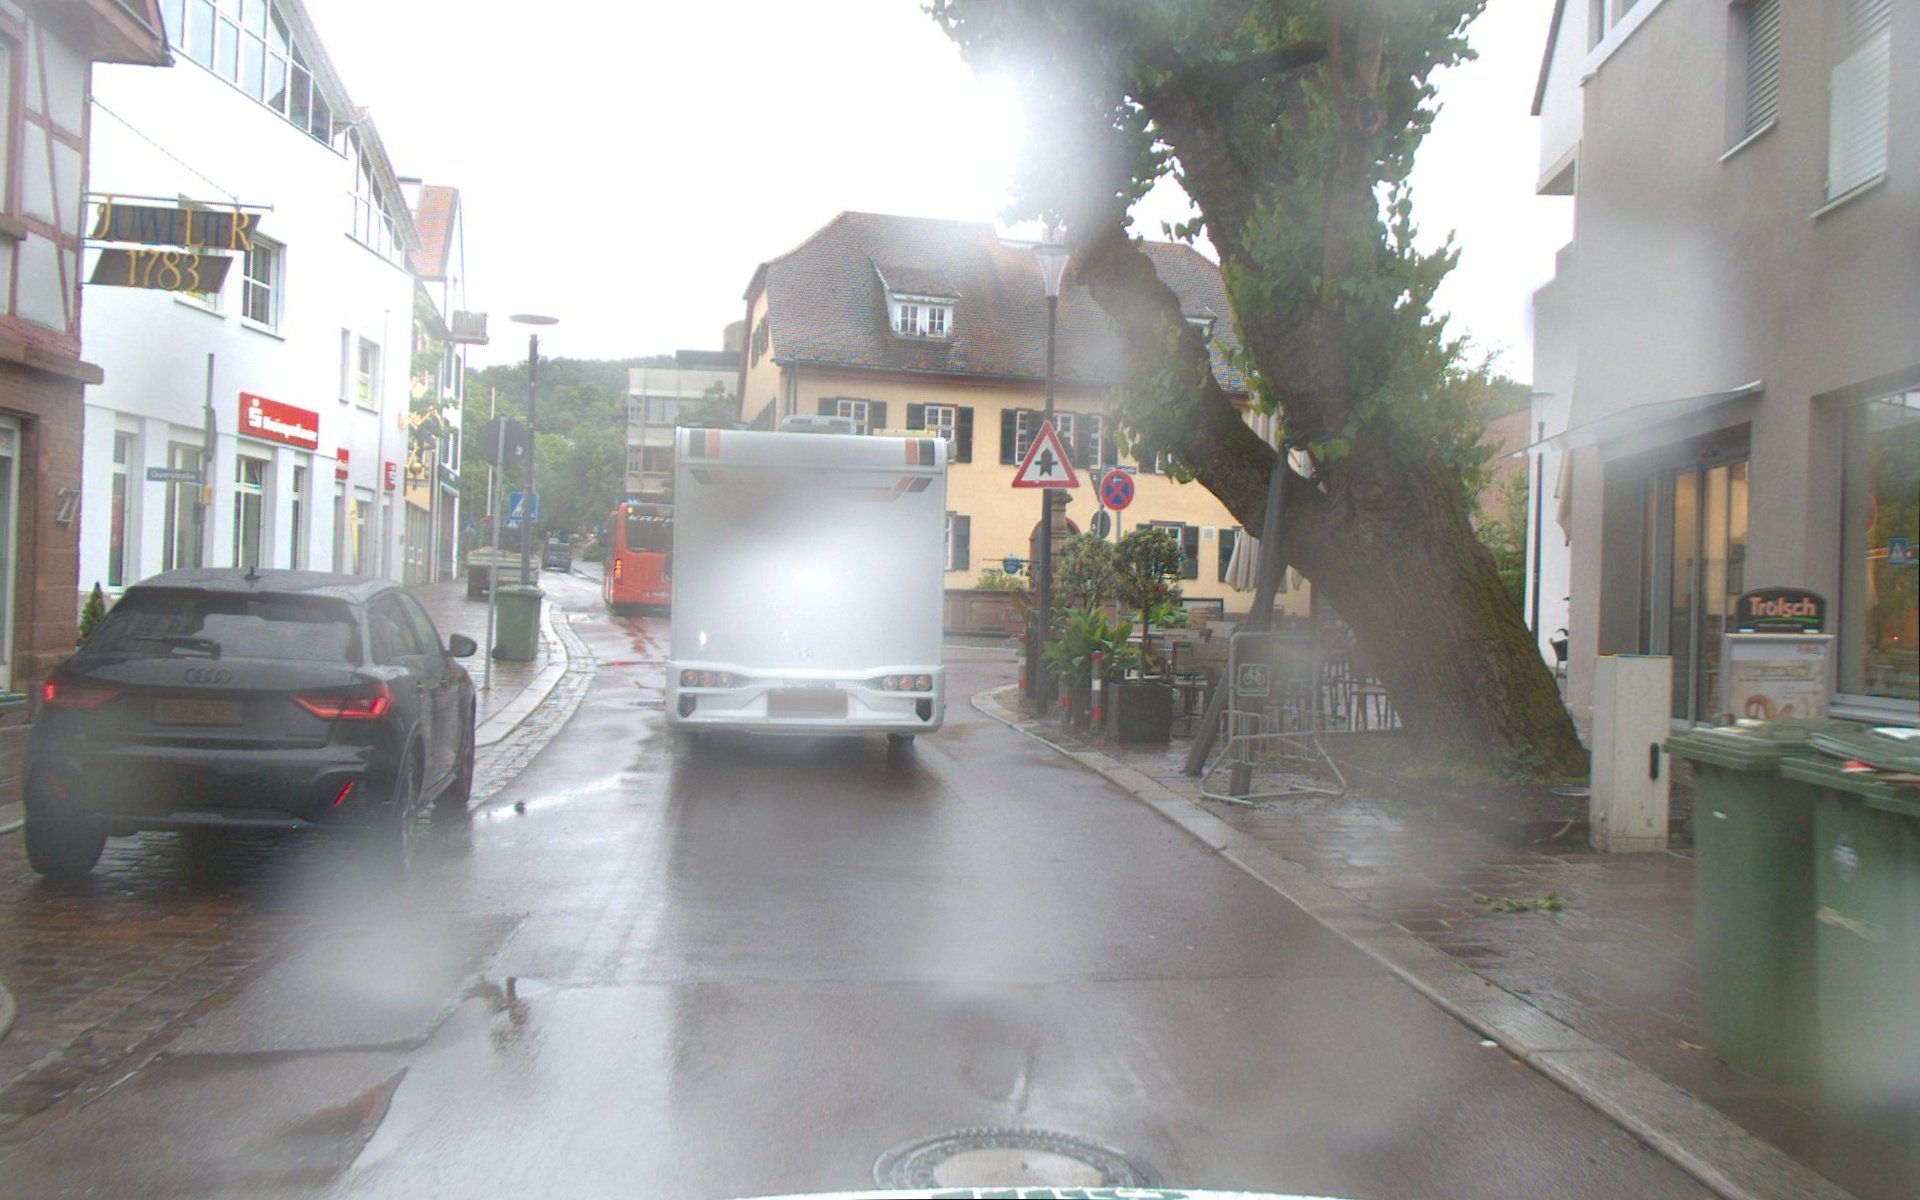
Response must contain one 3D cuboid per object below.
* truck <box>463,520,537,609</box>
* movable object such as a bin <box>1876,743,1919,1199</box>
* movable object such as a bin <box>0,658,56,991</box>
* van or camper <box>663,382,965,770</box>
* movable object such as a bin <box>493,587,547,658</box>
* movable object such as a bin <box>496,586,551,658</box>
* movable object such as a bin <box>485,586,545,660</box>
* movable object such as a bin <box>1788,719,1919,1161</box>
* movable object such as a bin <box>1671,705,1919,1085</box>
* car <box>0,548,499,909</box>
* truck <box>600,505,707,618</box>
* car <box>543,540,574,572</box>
[{"bbox_3d":[-15.584,-1.130,56.017,2.243,2.806,5.544,1,-1,-16],"label":"truck"},{"bbox_3d":[2.674,0.929,3.928,0.678,1.121,0.561,1,-1,-1],"label":"movable object such as a bin"},{"bbox_3d":[-3.626,0.779,5.708,0.618,1.142,0.733,1,-1,-6],"label":"movable object such as a bin"},{"bbox_3d":[-1.528,-0.138,16.041,2.282,2.970,6.382,1,-1,-7],"label":"van or camper"},{"bbox_3d":[-6.715,0.343,25.273,0.752,1.069,0.522,1,-1,-13],"label":"movable object such as a bin"},{"bbox_3d":[-6.871,0.351,26.043,0.752,1.069,0.522,4,-2,-13],"label":"movable object such as a bin"},{"bbox_3d":[-6.619,0.337,24.624,0.804,1.069,0.697,1,-1,-13],"label":"movable object such as a bin"},{"bbox_3d":[2.815,0.919,4.624,0.714,1.121,0.561,1,-1,-1],"label":"movable object such as a bin"},{"bbox_3d":[2.742,0.904,5.250,0.714,1.099,0.576,1,-1,-1],"label":"movable object such as a bin"},{"bbox_3d":[-3.773,0.543,9.159,1.958,1.520,3.990,3,0,-11],"label":"car"},{"bbox_3d":[-8.945,-1.017,47.781,2.422,2.990,6.170,1,-1,-16],"label":"truck"},{"bbox_3d":[-27.747,-3.038,114.310,1.961,2.049,3.983,1,-1,-15],"label":"car"}]
